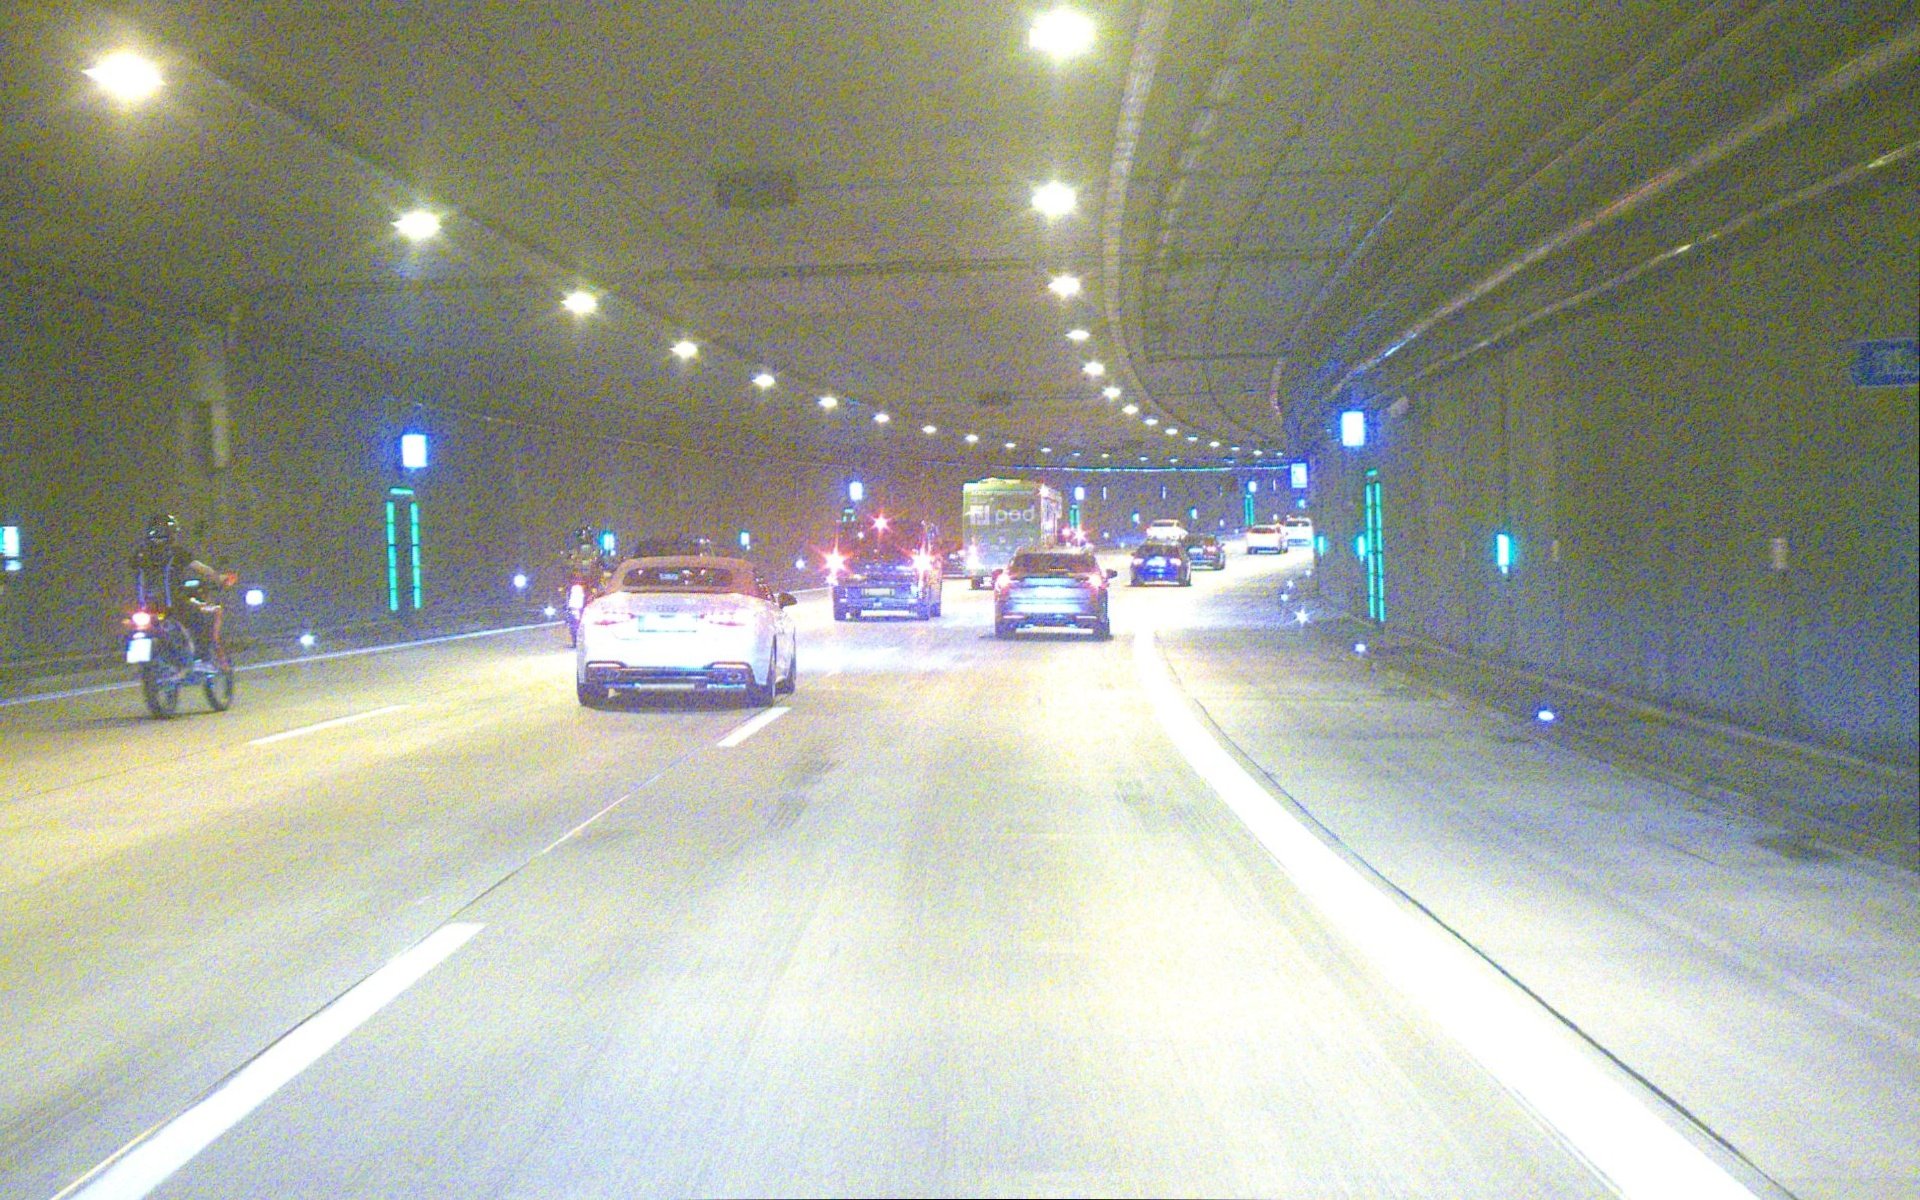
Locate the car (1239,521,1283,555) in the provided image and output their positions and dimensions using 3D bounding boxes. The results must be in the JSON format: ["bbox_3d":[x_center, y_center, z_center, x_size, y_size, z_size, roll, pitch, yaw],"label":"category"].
[{"bbox_3d":[15.181,-3.111,173.017,1.931,1.637,3.999,1,0,9],"label":"car"}]

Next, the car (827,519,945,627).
[{"bbox_3d":[-1.412,-0.566,67.133,1.910,1.937,3.871,1,3,5],"label":"car"}]

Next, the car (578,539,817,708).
[{"bbox_3d":[-2.459,0.167,33.278,1.702,1.414,5.060,1,2,3],"label":"car"}]

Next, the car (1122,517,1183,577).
[{"bbox_3d":[6.085,-1.693,108.851,1.857,1.848,4.000,0,1,3],"label":"car"}]

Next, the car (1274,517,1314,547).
[{"bbox_3d":[18.830,-3.817,193.518,1.994,1.626,3.999,1,0,9],"label":"car"}]

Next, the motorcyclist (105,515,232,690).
[{"bbox_3d":[-6.747,0.016,29.344,0.777,1.447,1.069,1,0,3],"label":"motorcyclist"}]

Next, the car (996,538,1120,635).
[{"bbox_3d":[1.615,-0.192,55.397,1.742,1.459,3.870,2,0,5],"label":"car"}]

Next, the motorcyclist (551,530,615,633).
[{"bbox_3d":[-5.403,-0.267,49.235,0.806,1.443,1.866,1,0,-9],"label":"motorcyclist"}]

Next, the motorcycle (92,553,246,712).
[{"bbox_3d":[-6.735,0.251,29.387,0.683,1.292,2.399,1,1,2],"label":"motorcycle"}]

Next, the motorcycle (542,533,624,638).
[{"bbox_3d":[-5.409,-0.221,49.156,0.926,1.429,2.964,2,1,-10],"label":"motorcycle"}]

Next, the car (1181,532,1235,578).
[{"bbox_3d":[9.924,-1.786,137.278,1.950,1.766,3.999,1,0,6],"label":"car"}]

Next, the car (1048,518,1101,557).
[{"bbox_3d":[4.988,-2.720,149.830,1.931,1.637,3.999,1,1,7],"label":"car"}]

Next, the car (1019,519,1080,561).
[{"bbox_3d":[3.558,-2.378,136.006,1.994,1.626,3.999,1,1,8],"label":"car"}]

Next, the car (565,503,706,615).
[{"bbox_3d":[-5.979,-0.773,63.709,1.994,2.007,4.000,0,1,4],"label":"car"}]

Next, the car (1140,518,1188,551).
[{"bbox_3d":[10.908,-3.485,183.740,1.932,1.637,3.998,1,0,13],"label":"car"}]

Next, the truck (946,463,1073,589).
[{"bbox_3d":[1.563,-2.227,104.157,3.040,3.660,7.391,1,1,7],"label":"truck"}]
